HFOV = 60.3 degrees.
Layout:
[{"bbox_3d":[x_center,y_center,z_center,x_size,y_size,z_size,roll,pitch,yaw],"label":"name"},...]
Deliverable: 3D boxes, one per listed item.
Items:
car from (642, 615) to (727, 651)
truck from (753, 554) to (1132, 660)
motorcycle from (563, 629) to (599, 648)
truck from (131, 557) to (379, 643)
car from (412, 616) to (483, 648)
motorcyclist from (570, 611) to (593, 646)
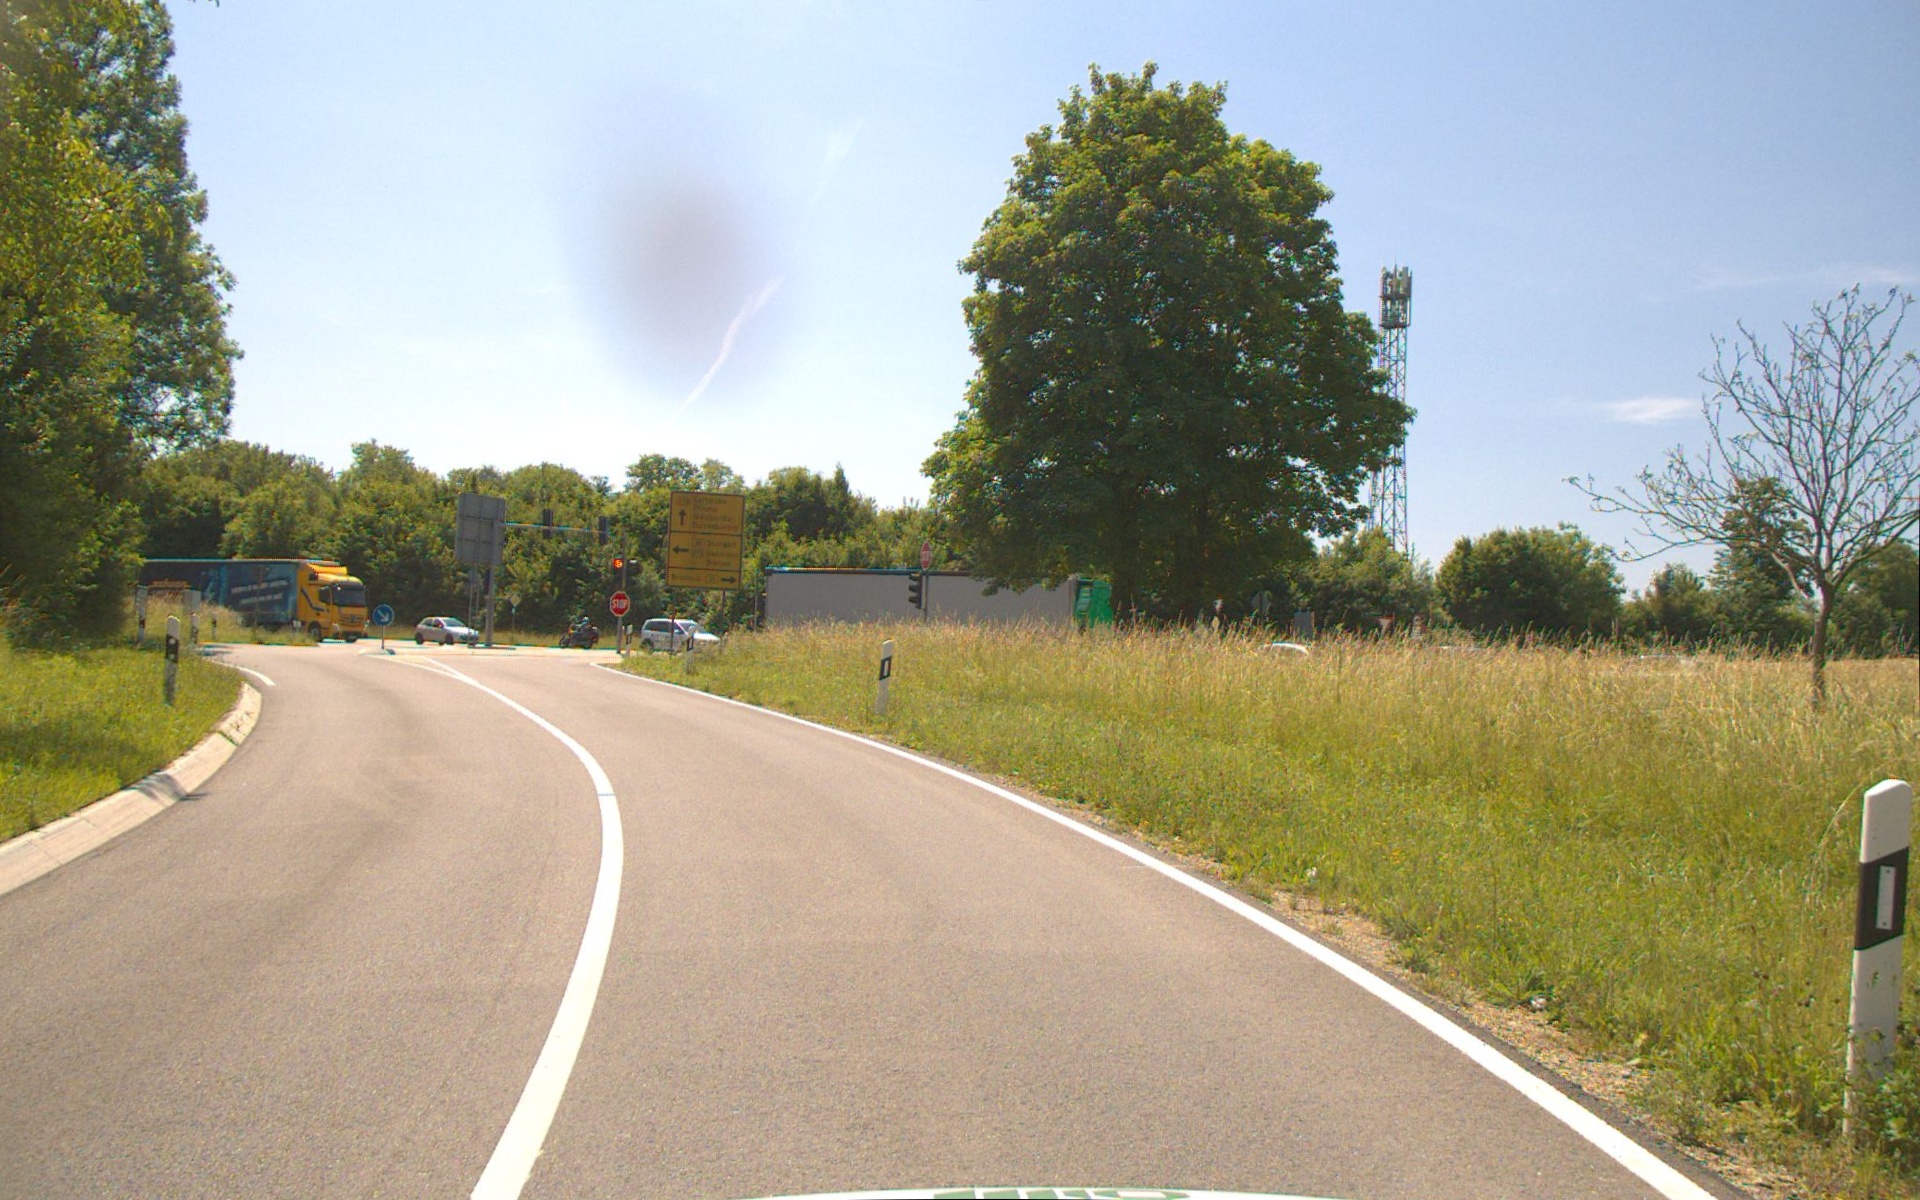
[{"bbox_3d":[-12.647,1.512,75.924,3.608,1.603,1.723,0,0,29],"label":"car"},{"bbox_3d":[-0.707,0.317,72.559,16.278,4.246,3.138,1,-1,7],"label":"truck"},{"bbox_3d":[-20.216,2.037,88.256,1.830,0.980,0.730,-1,-1,26],"label":"motorcycle"},{"bbox_3d":[-38.045,-0.098,88.757,16.444,4.204,2.846,1,-2,30],"label":"truck"},{"bbox_3d":[-26.692,1.658,86.122,3.837,1.603,1.653,0,0,37],"label":"car"},{"bbox_3d":[-20.211,1.518,88.270,0.878,1.875,0.839,0,-1,25],"label":"motorcyclist"}]
